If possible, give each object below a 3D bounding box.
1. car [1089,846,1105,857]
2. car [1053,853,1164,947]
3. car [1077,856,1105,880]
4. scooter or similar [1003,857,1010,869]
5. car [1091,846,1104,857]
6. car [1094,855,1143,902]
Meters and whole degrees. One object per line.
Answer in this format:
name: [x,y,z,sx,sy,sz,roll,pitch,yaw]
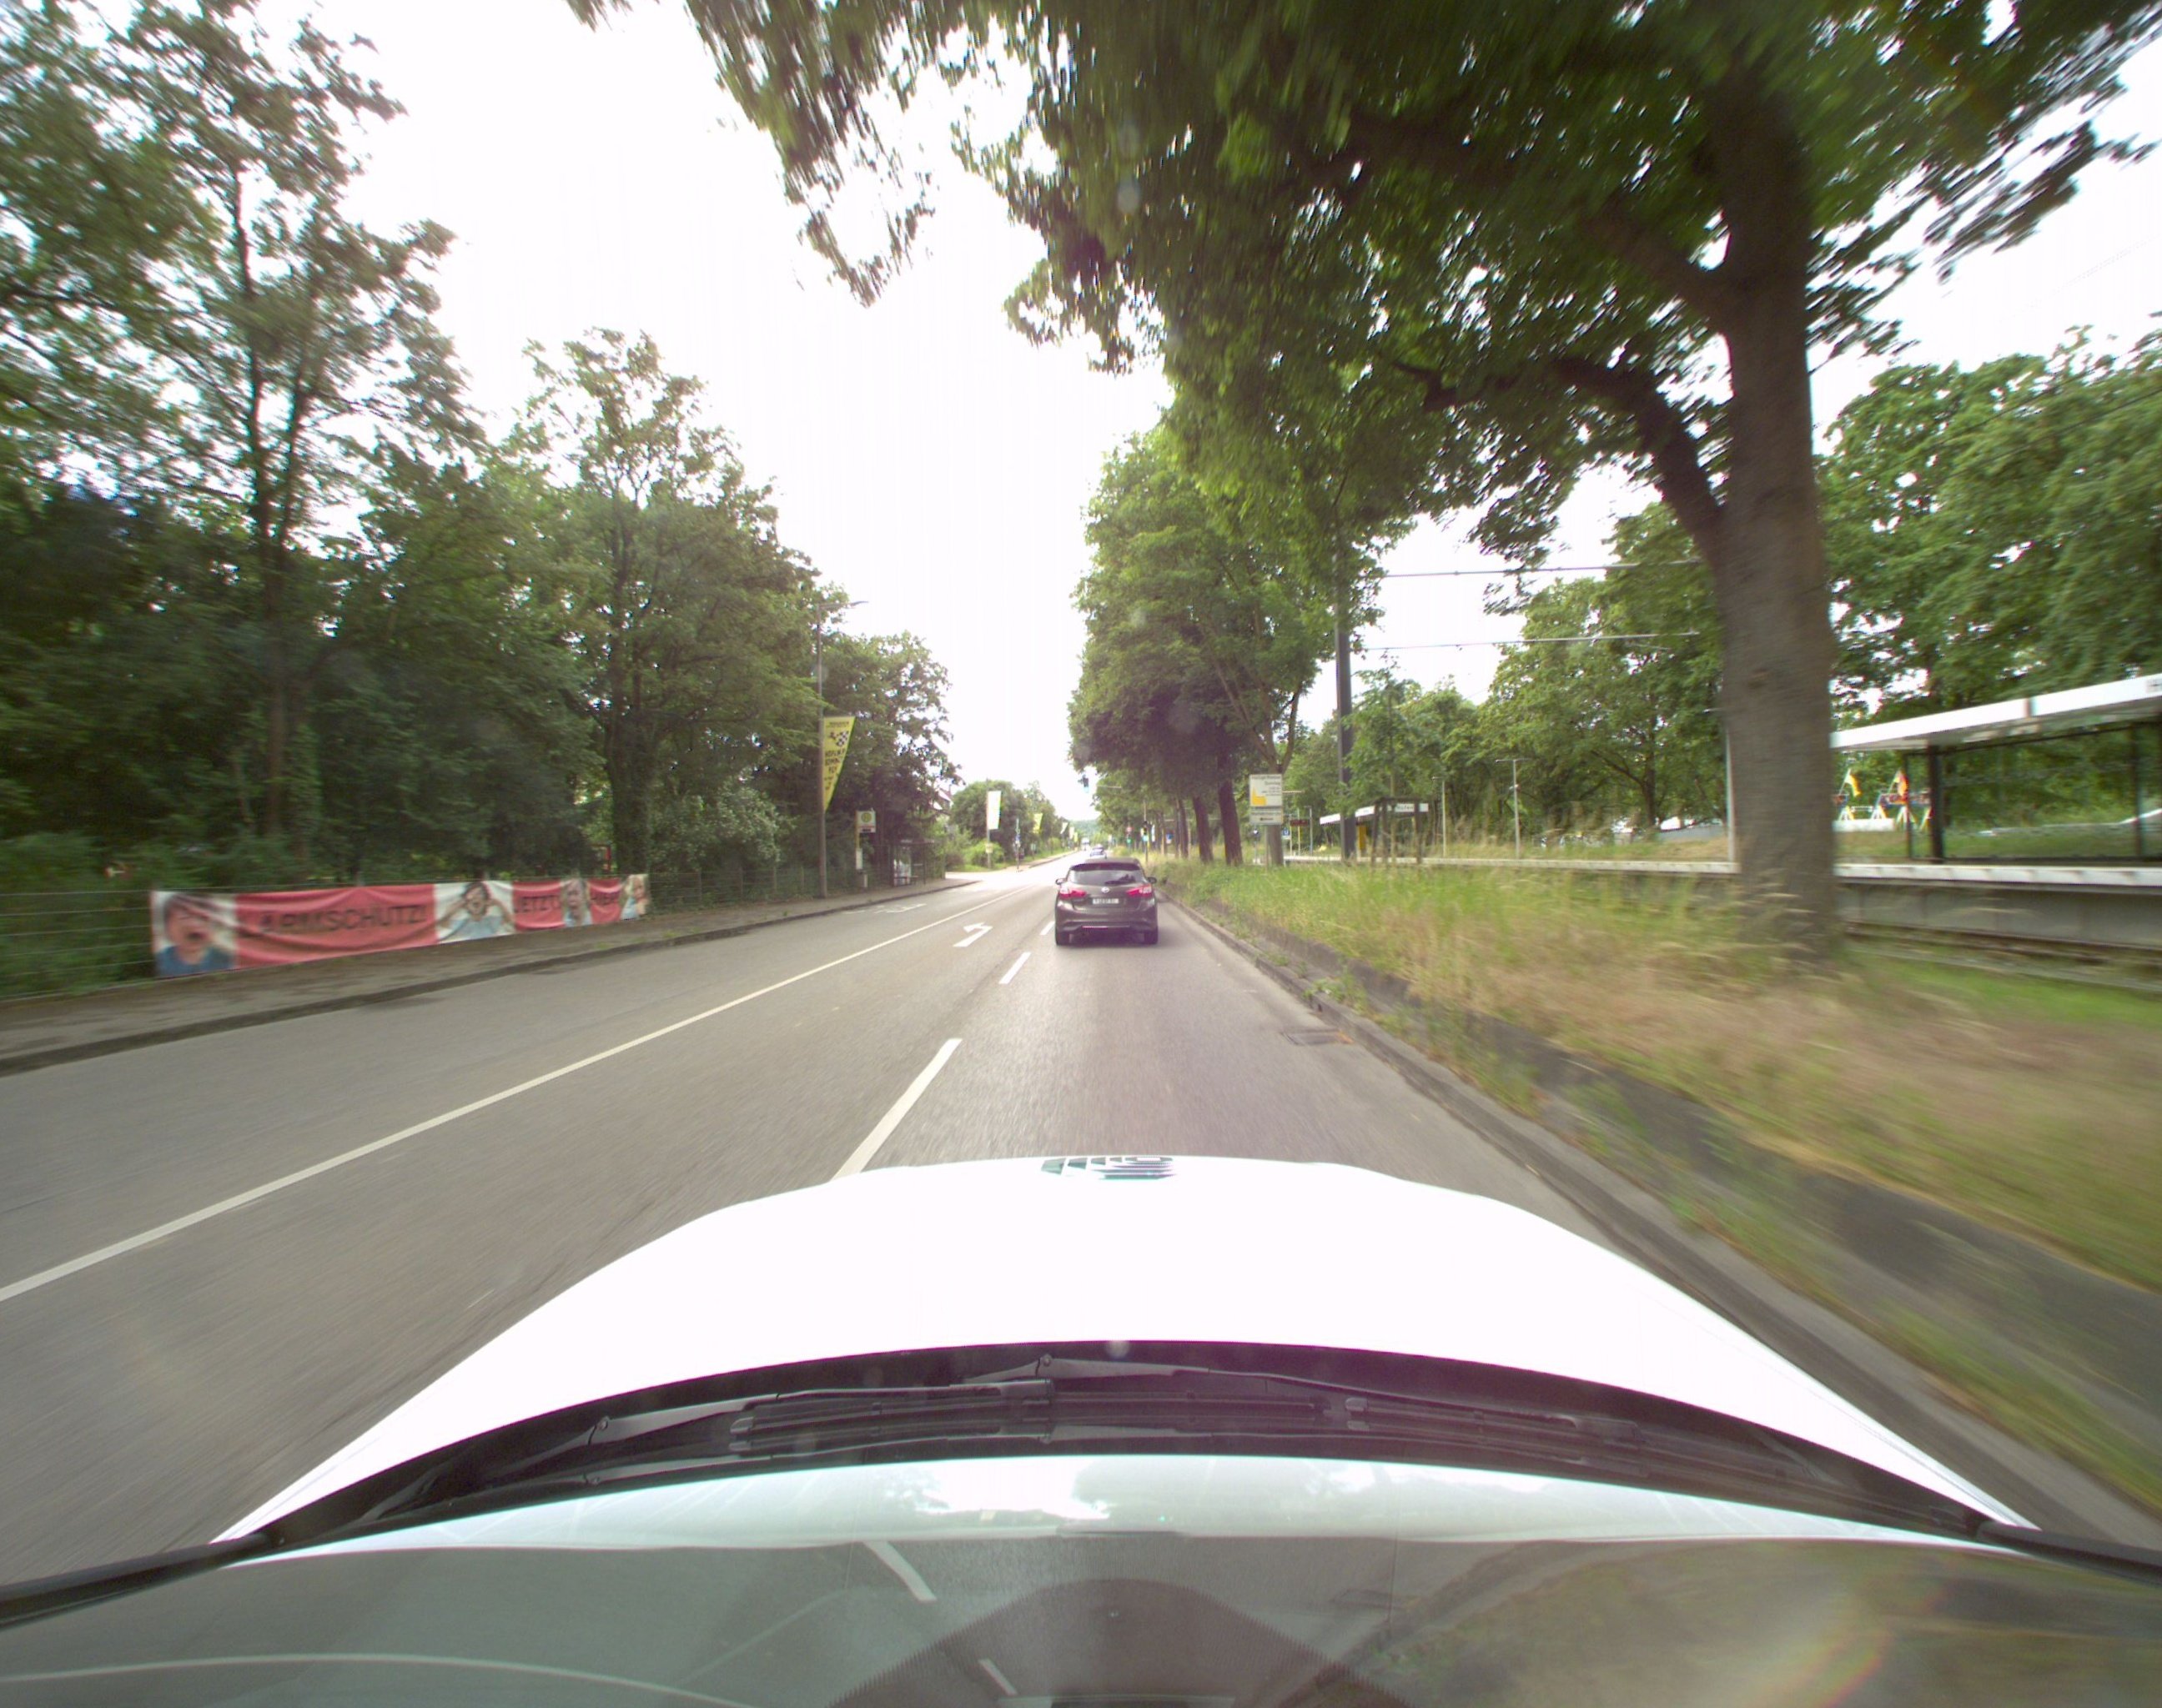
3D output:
car: [2.011,-0.311,101.601,1.986,1.321,4.001,1,-1,2]
car: [0.512,0.755,15.097,1.777,1.507,3.698,-1,0,2]
car: [0.670,0.852,51.567,1.685,1.441,3.542,-1,0,1]
scooter or similar: [-7.716,0.931,84.299,0.460,1.259,1.427,-1,0,3]
car: [2.688,-0.410,130.512,1.986,1.574,4.001,1,-1,1]
car: [1.222,0.774,27.326,1.496,1.441,3.542,-1,0,1]
